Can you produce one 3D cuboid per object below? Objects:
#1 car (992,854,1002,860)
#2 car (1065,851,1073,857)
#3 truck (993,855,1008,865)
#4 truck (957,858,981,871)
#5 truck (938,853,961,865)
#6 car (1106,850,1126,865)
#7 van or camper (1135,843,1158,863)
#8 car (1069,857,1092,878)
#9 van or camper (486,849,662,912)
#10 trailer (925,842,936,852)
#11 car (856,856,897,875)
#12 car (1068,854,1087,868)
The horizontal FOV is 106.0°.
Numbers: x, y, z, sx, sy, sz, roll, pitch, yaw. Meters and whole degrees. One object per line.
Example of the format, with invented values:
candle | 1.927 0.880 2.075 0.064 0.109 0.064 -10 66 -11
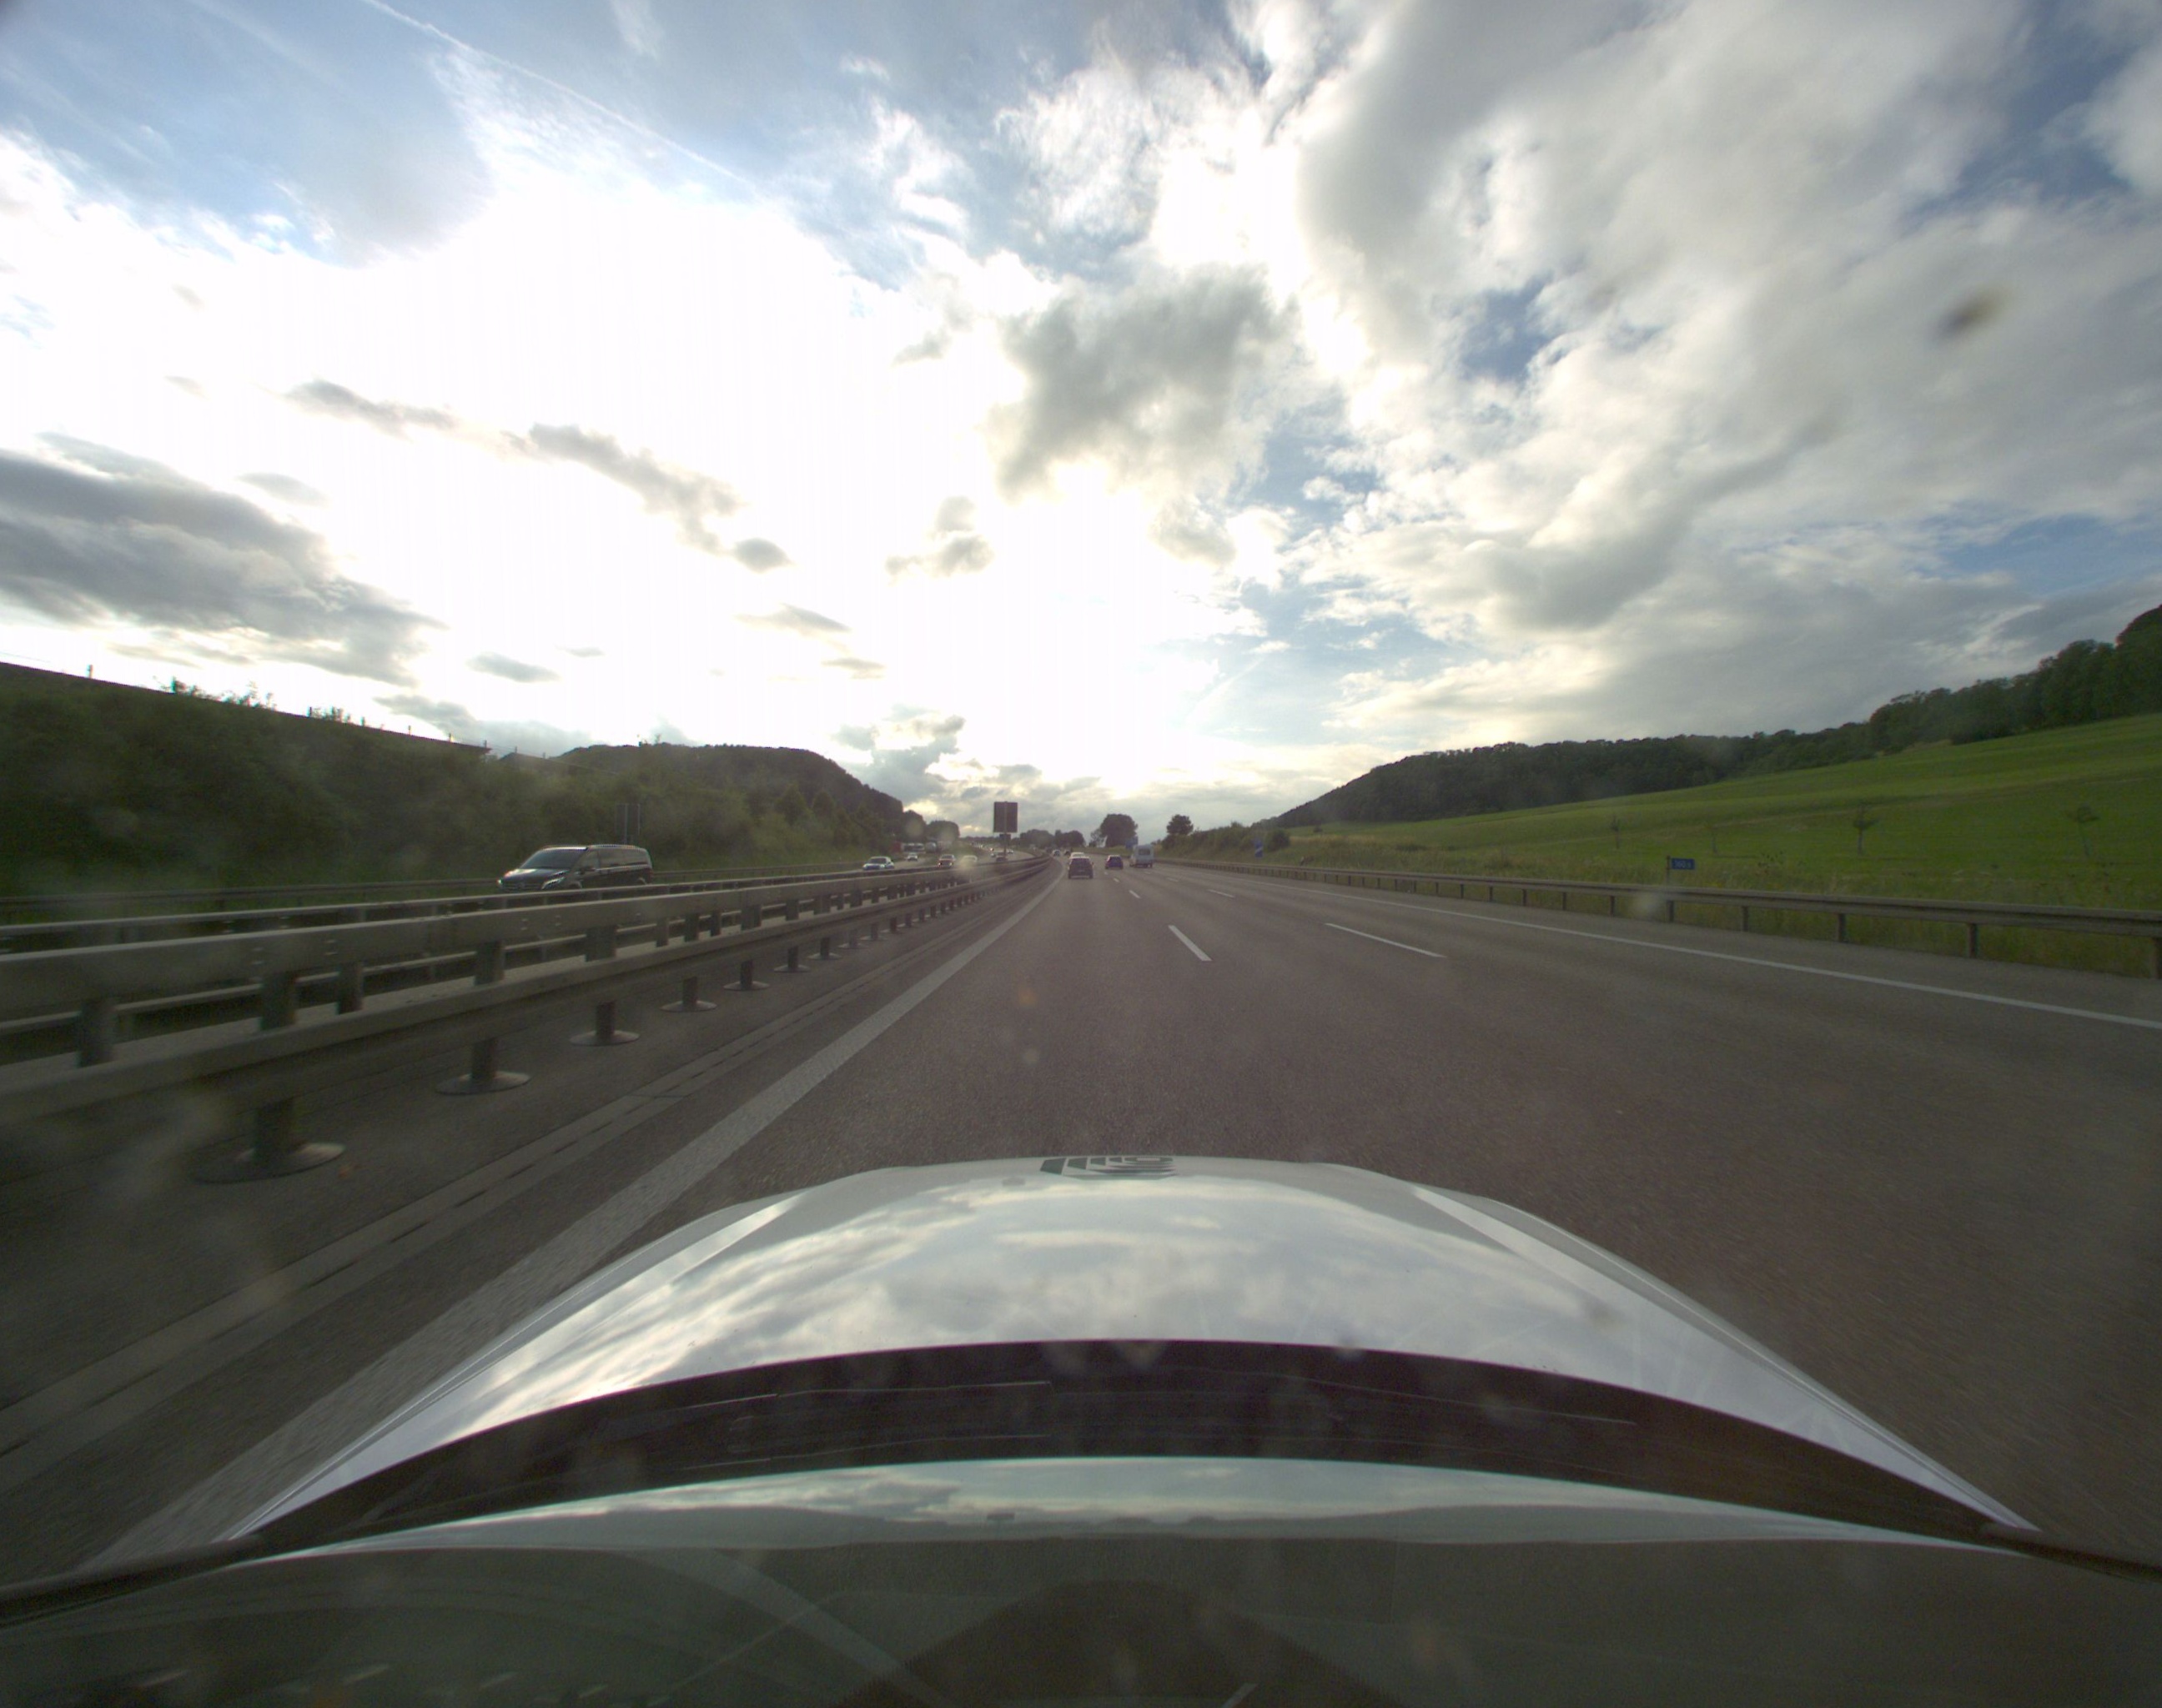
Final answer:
car | -20.401 0.789 197.689 1.986 1.486 4.002 -1 0 2
car | -3.362 -0.044 224.482 1.948 1.574 4.004 0 -1 4
truck | -13.298 0.942 134.430 1.994 1.594 4.828 -2 0 -11
truck | -11.771 1.094 85.807 1.989 1.222 3.996 -2 0 -2
truck | -15.586 0.559 96.652 1.987 1.353 3.945 -2 0 -1
car | 3.617 0.344 84.723 1.762 1.433 3.997 -2 0 -2
van or camper | 7.313 -0.078 91.308 2.537 2.239 5.334 -1 -1 4
car | -0.067 0.874 54.899 1.533 1.348 3.675 0 -1 -1
van or camper | -15.266 0.719 24.999 1.988 1.660 5.452 -1 0 -1
trailer | -46.589 -2.064 252.614 2.576 2.853 12.232 0 -1 -7
car | -15.192 0.819 60.756 1.987 1.353 4.354 -1 0 -1
car | -0.344 0.673 84.163 1.563 1.380 3.992 -1 0 -6
